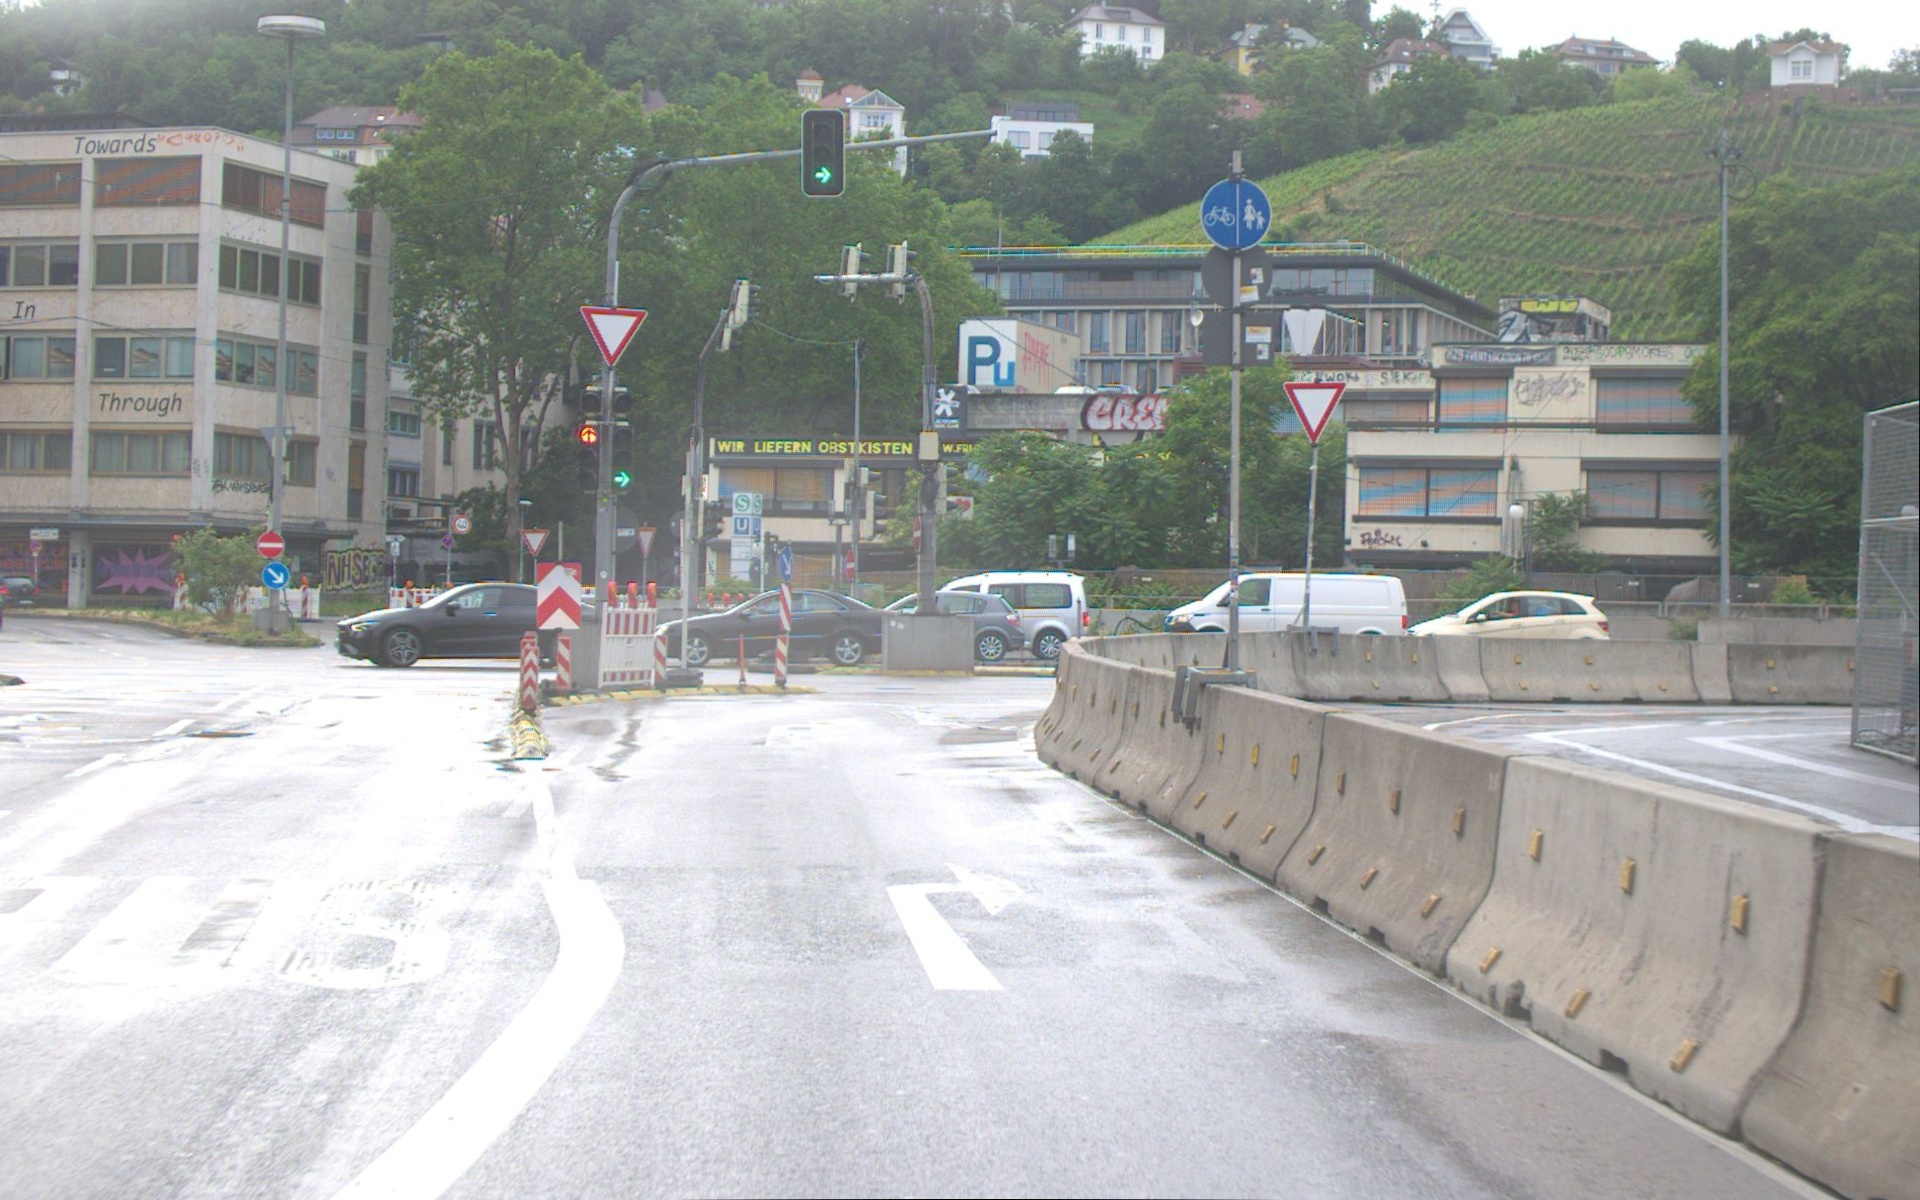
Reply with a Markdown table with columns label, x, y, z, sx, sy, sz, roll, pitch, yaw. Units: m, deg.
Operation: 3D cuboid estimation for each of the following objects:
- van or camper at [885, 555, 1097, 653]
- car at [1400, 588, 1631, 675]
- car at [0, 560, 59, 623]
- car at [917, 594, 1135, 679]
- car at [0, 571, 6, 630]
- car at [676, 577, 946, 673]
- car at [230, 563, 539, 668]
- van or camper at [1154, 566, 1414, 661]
| label | x | y | z | sx | sy | sz | roll | pitch | yaw |
| --- | --- | --- | --- | --- | --- | --- | --- | --- | --- |
| van or camper | 0.638 | 0.081 | 72.886 | 4.241 | 1.972 | 1.852 | 1 | 0 | -8 |
| car | 11.402 | 0.642 | 70.697 | 4.365 | 1.668 | 1.848 | 1 | 0 | -3 |
| car | -31.791 | -0.297 | 114.852 | 1.994 | 2.007 | 4.000 | 1 | 1 | -34 |
| car | 1.319 | 0.732 | 69.864 | 4.166 | 1.593 | 1.852 | 1 | 0 | -8 |
| car | -25.472 | -0.024 | 88.239 | 1.830 | 1.481 | 4.001 | 1 | 0 | -15 |
| car | -2.702 | 0.444 | 61.733 | 4.647 | 1.593 | 2.019 | 1 | 0 | -8 |
| car | -9.439 | 0.255 | 56.388 | 4.647 | 1.593 | 2.019 | 1 | 0 | -22 |
| van or camper | 6.909 | 0.287 | 73.475 | 5.194 | 1.887 | 1.888 | 1 | 0 | -8 |
